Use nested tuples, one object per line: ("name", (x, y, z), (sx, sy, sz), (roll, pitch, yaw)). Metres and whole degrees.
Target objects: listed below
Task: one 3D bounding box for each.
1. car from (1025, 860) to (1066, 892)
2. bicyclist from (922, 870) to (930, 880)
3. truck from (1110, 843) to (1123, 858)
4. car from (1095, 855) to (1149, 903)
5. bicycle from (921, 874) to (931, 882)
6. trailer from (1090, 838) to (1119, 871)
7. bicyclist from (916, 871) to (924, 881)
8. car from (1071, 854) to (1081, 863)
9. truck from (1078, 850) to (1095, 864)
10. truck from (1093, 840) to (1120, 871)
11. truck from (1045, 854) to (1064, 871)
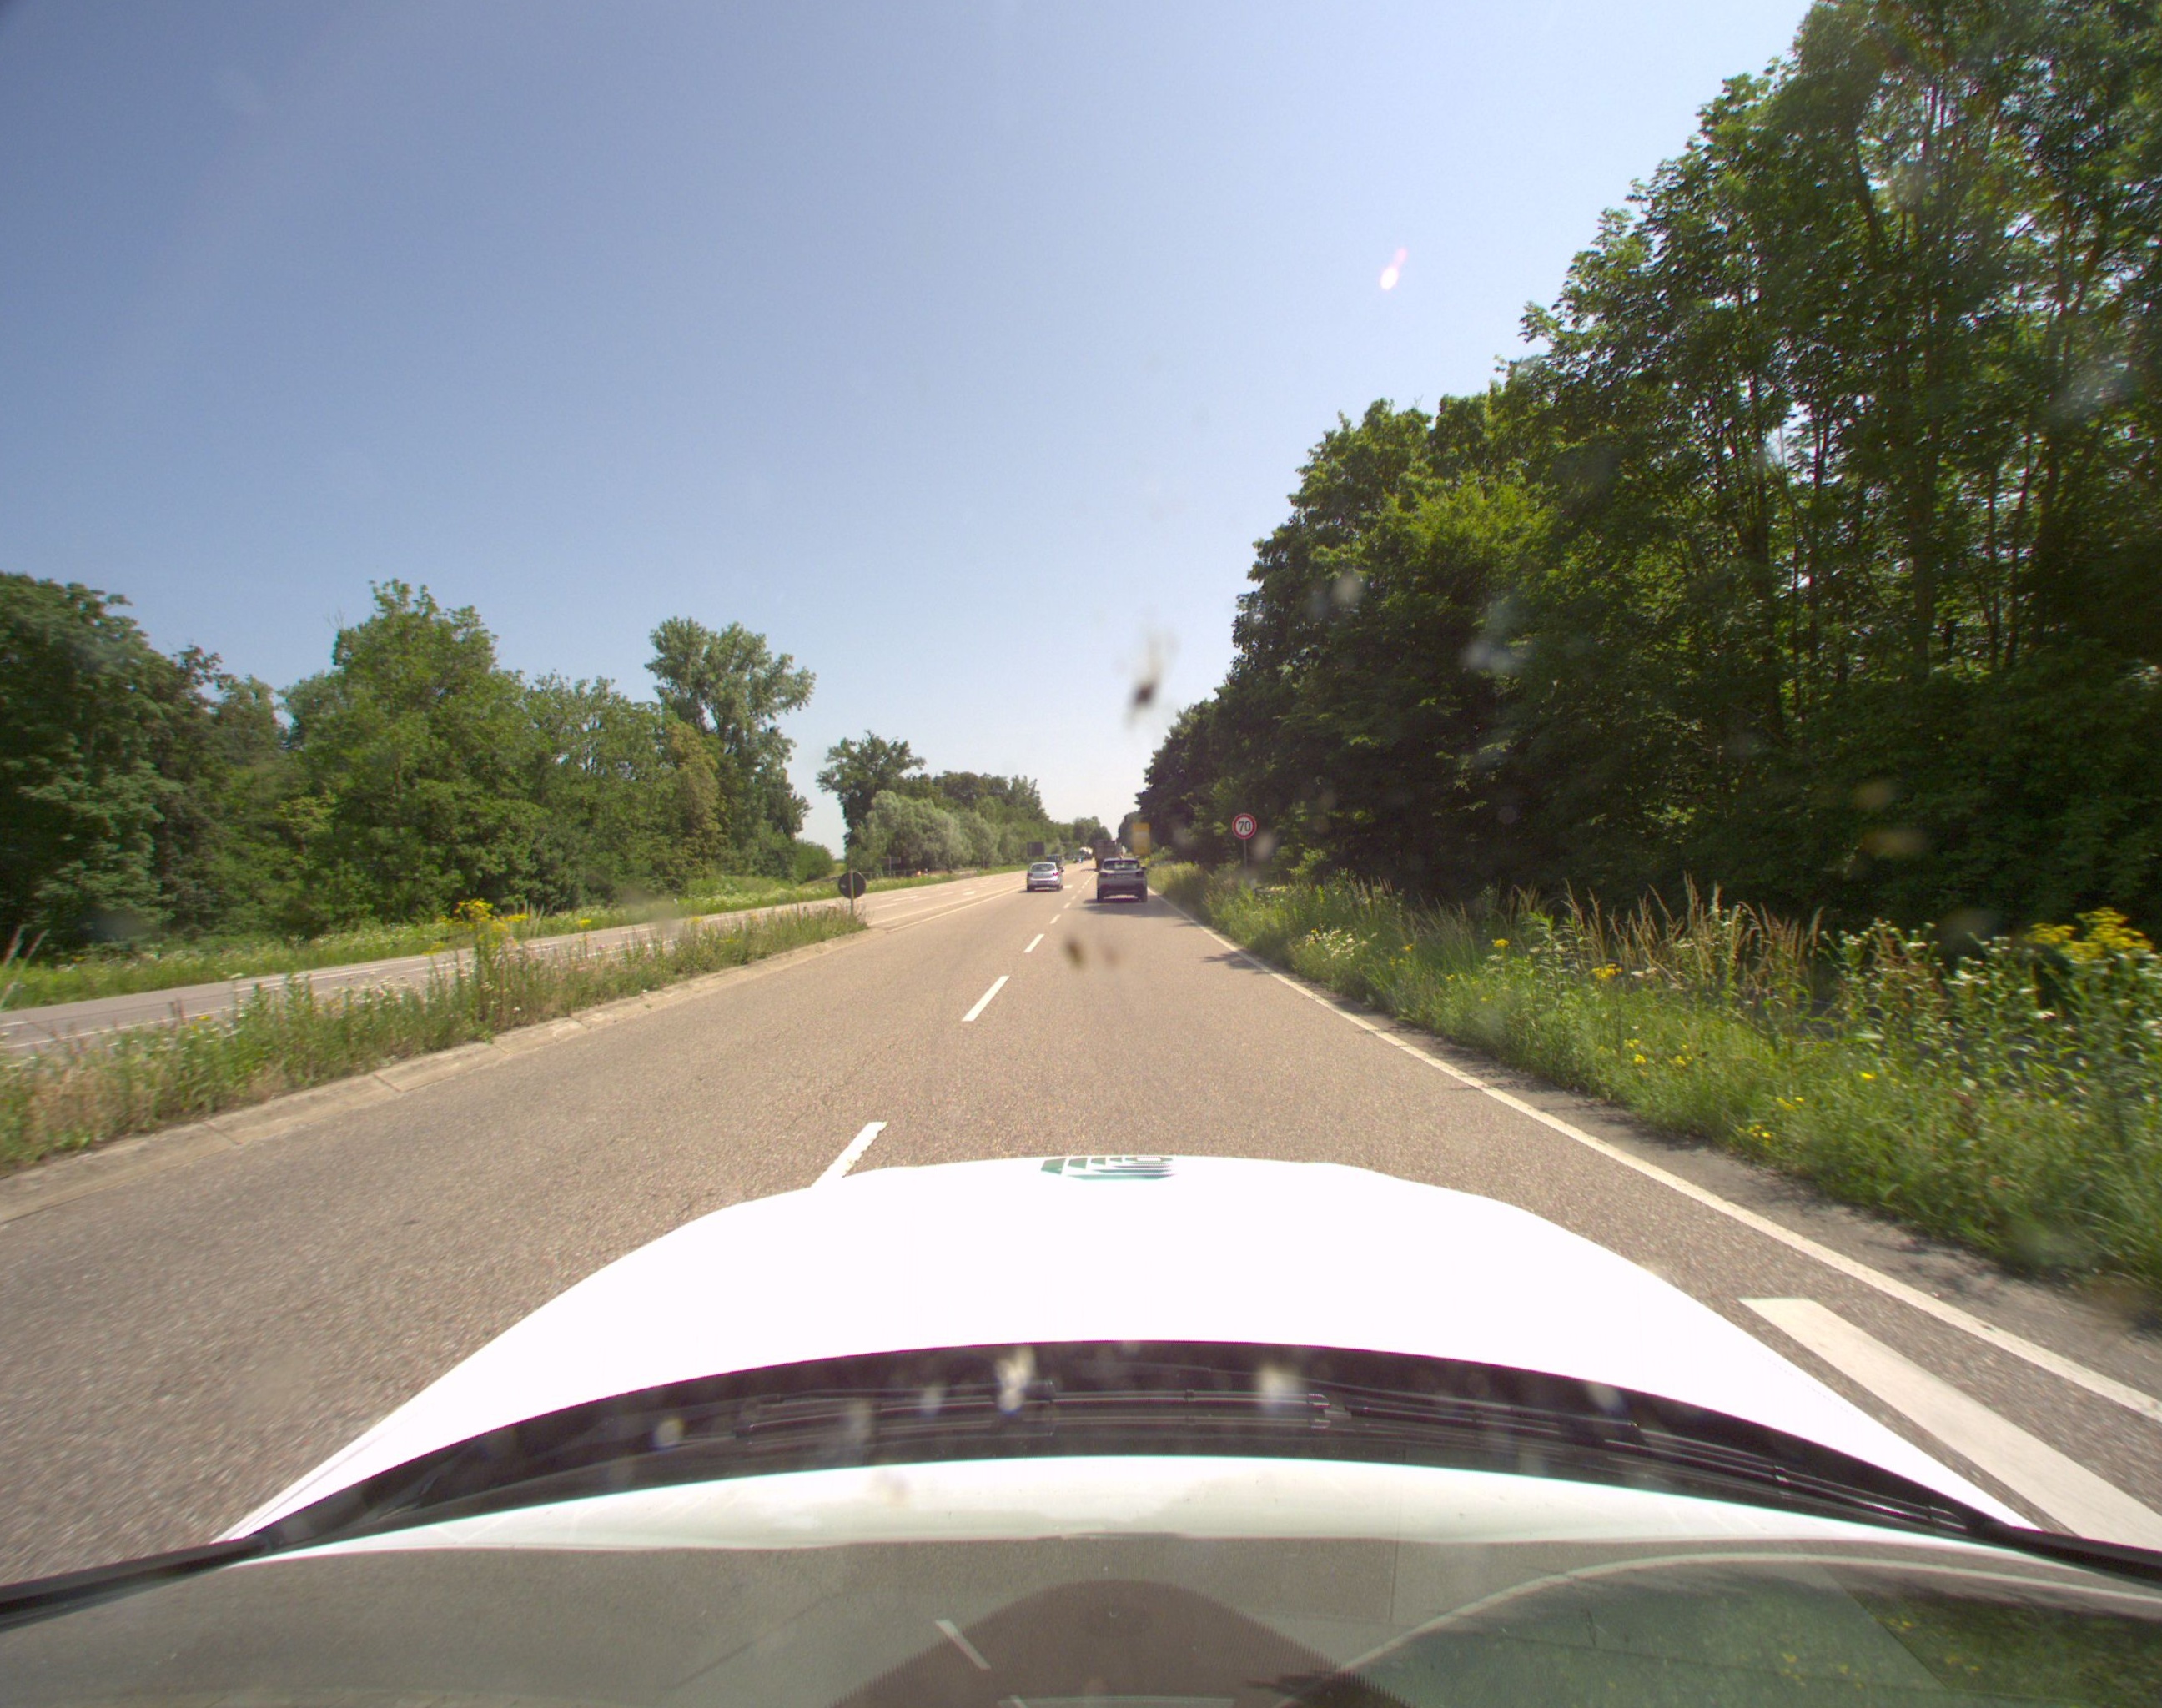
("car", (-1.726, 1.072, 40.834), (1.658, 1.430, 3.831), (-2, 0, 3))
("bicyclist", (-20.188, 2.731, 106.067), (0.730, 1.195, 0.594), (-4, -1, 13))
("truck", (10.024, -0.932, 231.948), (3.484, 4.187, 10.789), (-2, -1, 2))
("car", (1.499, 0.847, 29.592), (1.760, 1.535, 4.004), (-2, 0, 3))
("bicycle", (-20.153, 3.135, 106.110), (0.600, 1.006, 1.561), (-4, -1, 14))
("trailer", (3.200, 0.142, 106.539), (3.368, 3.989, 10.814), (-2, -1, 4))
("bicyclist", (-20.390, 2.803, 102.899), (0.752, 1.195, 0.594), (-4, 0, 13))
("car", (-1.202, 1.129, 198.592), (1.986, 1.881, 4.962), (-4, 0, 2))
("truck", (1.711, 1.039, 255.812), (3.645, 4.105, 9.480), (-3, 0, -8))
("truck", (3.503, 0.225, 111.510), (3.318, 3.989, 6.539), (-2, -1, 3))
("truck", (-4.395, 1.408, 137.944), (2.444, 2.656, 6.496), (-5, 0, 3))
